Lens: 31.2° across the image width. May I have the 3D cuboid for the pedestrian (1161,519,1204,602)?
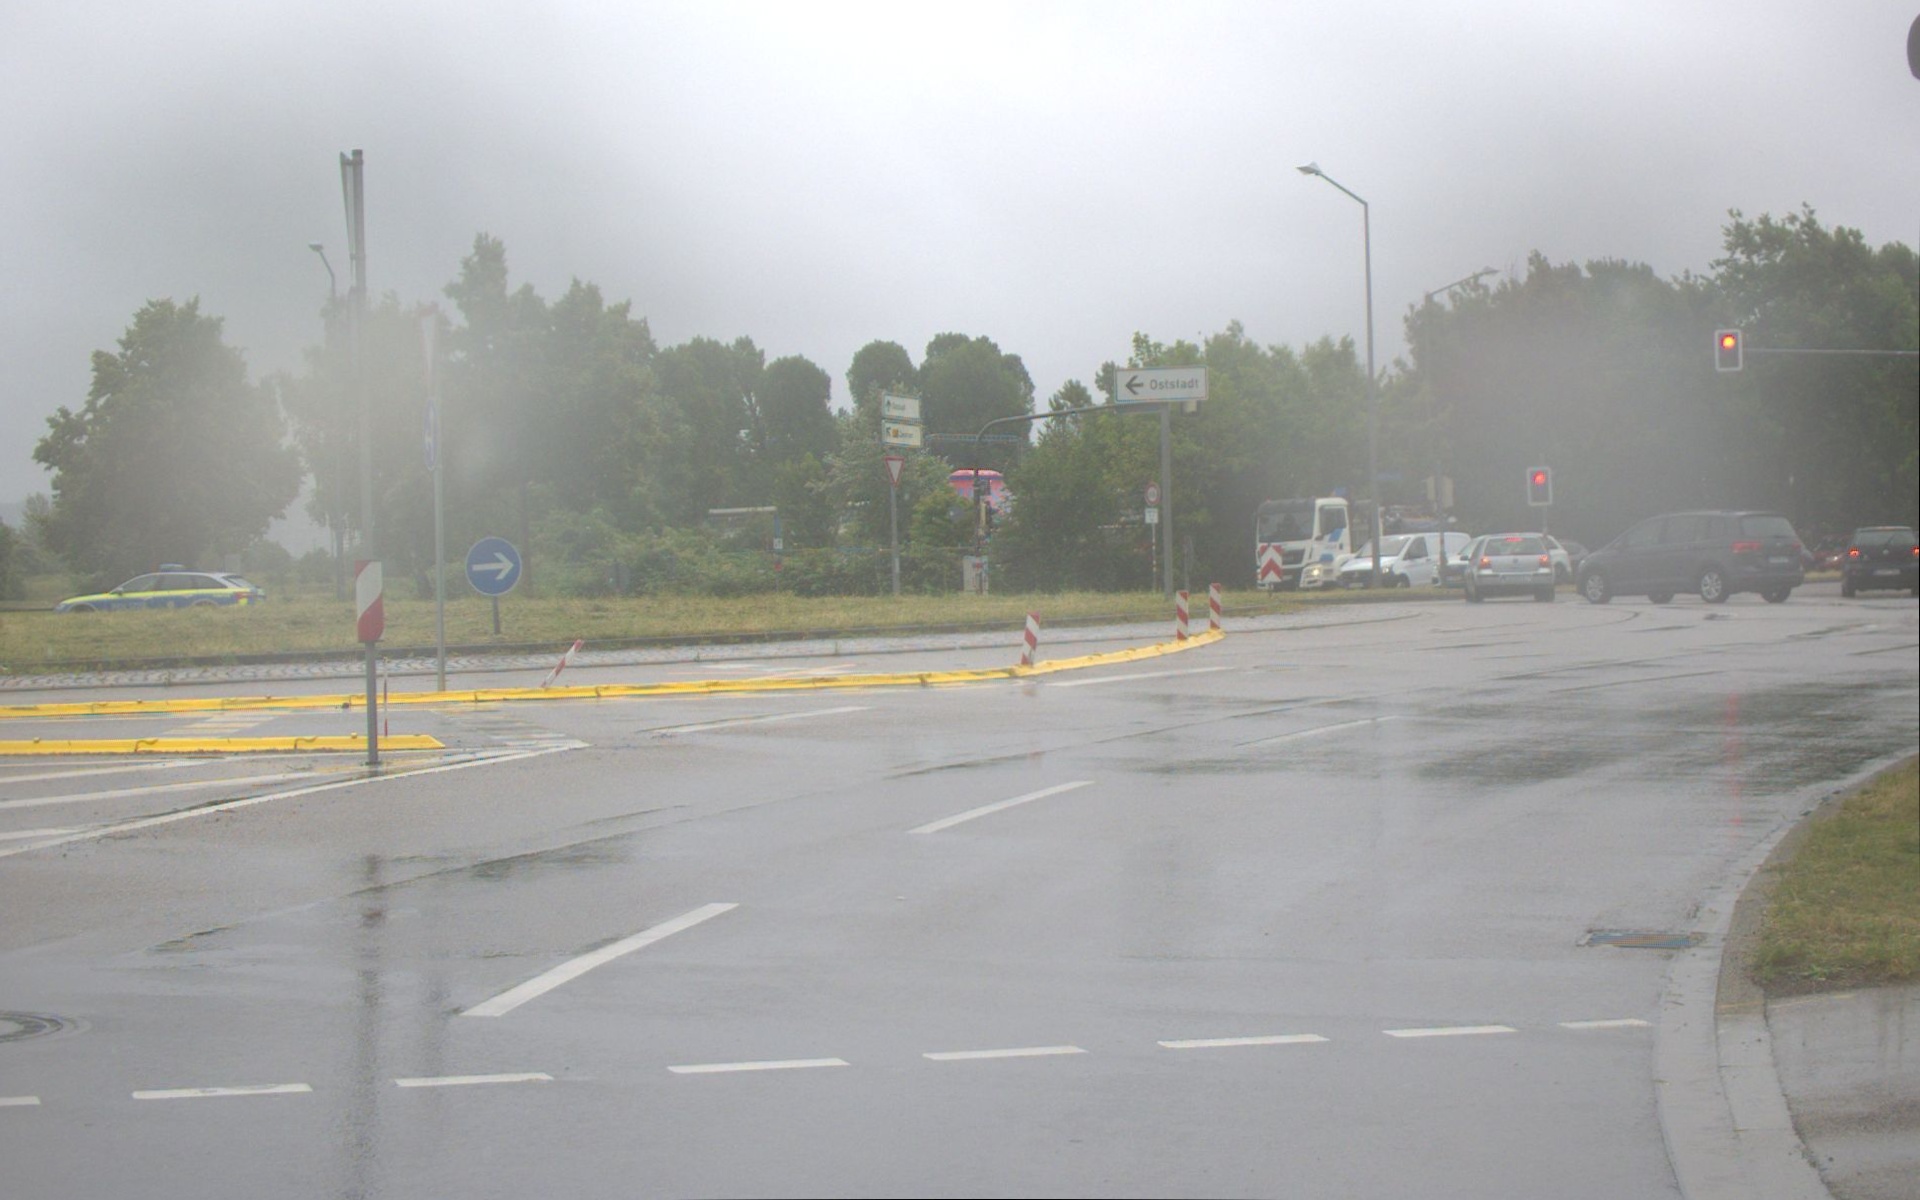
[{"bbox_3d":[3.517,-0.627,54.343,0.453,1.300,0.485,-1,1,38],"label":"pedestrian"}]

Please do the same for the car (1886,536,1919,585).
[{"bbox_3d":[33.515,-1.335,117.981,1.800,1.656,3.990,1,0,41],"label":"car"}]

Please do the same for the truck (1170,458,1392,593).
[{"bbox_3d":[7.018,-1.538,74.103,2.464,2.677,8.049,1,0,23],"label":"truck"}]

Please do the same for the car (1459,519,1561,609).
[{"bbox_3d":[11.833,-0.756,74.194,1.994,1.845,4.774,1,0,7],"label":"car"}]

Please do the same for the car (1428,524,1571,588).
[{"bbox_3d":[14.864,-1.206,94.602,1.800,1.656,4.399,1,0,41],"label":"car"}]

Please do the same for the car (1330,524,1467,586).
[{"bbox_3d":[12.276,-1.248,96.119,1.800,1.656,4.124,1,0,41],"label":"car"}]

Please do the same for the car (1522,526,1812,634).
[{"bbox_3d":[12.565,-0.362,61.310,1.994,1.845,4.773,1,0,-43],"label":"car"}]

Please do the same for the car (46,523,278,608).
[{"bbox_3d":[-18.362,-0.810,79.225,4.762,1.845,1.999,-1,1,9],"label":"car"}]

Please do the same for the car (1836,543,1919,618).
[{"bbox_3d":[19.052,-0.427,71.083,1.619,1.449,3.986,-1,1,12],"label":"car"}]
